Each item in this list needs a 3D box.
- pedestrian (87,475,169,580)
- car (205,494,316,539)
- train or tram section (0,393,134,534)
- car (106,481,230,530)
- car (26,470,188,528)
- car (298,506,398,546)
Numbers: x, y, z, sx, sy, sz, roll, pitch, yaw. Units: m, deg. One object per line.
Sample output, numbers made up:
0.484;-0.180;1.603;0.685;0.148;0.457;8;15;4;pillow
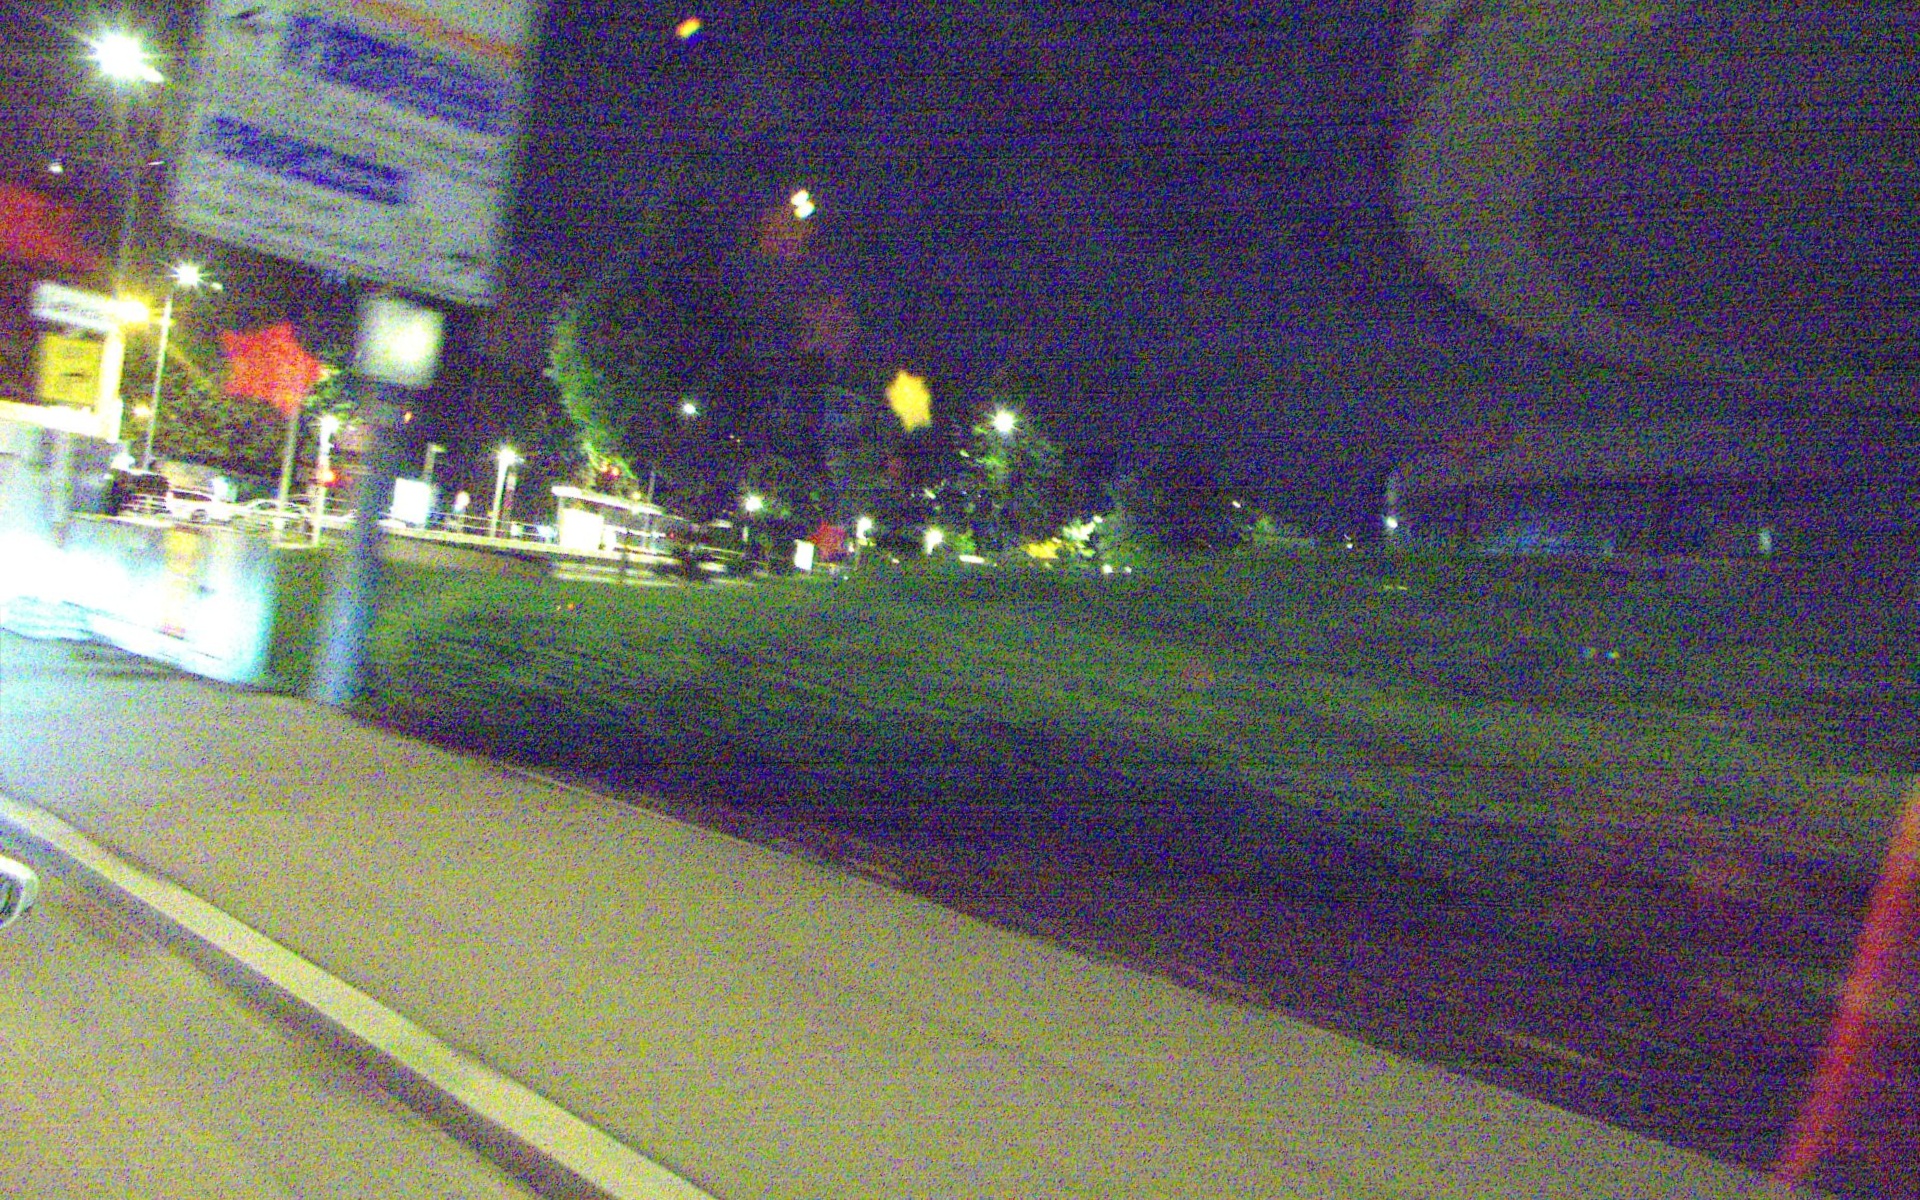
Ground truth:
-14.738;-1.284;17.829;0.763;1.734;0.899;7;2;37;pedestrian
-31.508;-3.744;45.360;1.734;1.547;3.757;8;2;40;car
-34.159;-4.949;26.283;2.879;3.870;19.166;7;0;37;train or tram section
-35.458;-4.218;45.108;1.842;1.637;4.050;8;2;40;car
-34.179;-4.015;40.422;1.970;1.662;4.608;7;2;37;car
-31.277;-3.754;51.457;1.859;1.595;3.975;8;3;42;car
